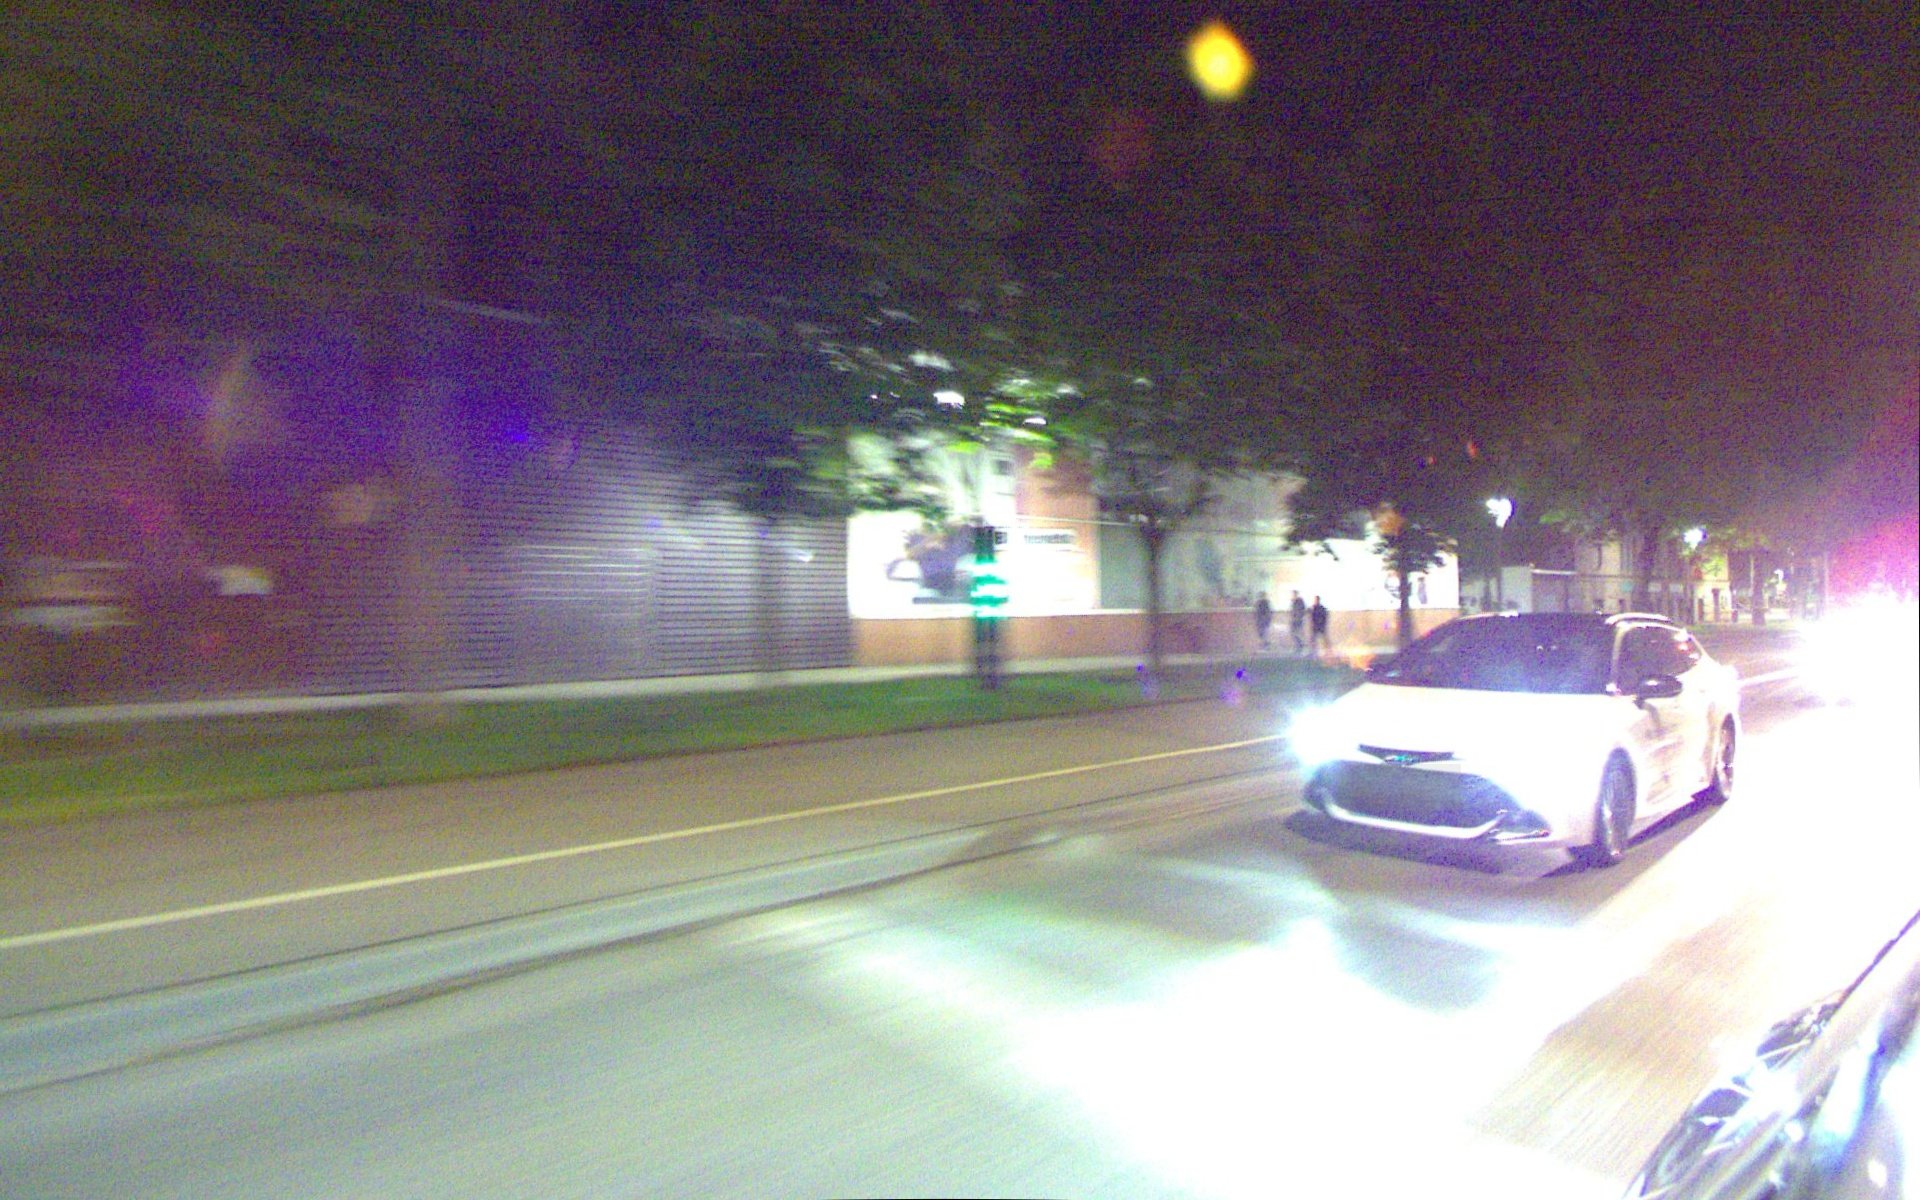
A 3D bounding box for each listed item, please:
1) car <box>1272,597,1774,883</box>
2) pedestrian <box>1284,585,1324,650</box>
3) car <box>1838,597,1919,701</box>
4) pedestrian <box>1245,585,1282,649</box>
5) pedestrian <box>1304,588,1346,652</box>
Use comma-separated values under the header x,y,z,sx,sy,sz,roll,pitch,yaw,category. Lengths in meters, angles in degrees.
x,y,z,sx,sy,sz,roll,pitch,yaw,category
4.244,0.727,7.280,4.419,1.448,1.727,0,-1,-41,car
9.890,0.490,29.098,0.953,1.811,0.720,0,0,-40,pedestrian
15.049,0.697,15.745,3.774,1.456,1.632,-1,0,-42,car
8.884,0.474,29.633,0.890,1.840,0.675,0,0,-40,pedestrian
10.165,0.535,28.196,0.968,1.739,0.736,0,0,-40,pedestrian
